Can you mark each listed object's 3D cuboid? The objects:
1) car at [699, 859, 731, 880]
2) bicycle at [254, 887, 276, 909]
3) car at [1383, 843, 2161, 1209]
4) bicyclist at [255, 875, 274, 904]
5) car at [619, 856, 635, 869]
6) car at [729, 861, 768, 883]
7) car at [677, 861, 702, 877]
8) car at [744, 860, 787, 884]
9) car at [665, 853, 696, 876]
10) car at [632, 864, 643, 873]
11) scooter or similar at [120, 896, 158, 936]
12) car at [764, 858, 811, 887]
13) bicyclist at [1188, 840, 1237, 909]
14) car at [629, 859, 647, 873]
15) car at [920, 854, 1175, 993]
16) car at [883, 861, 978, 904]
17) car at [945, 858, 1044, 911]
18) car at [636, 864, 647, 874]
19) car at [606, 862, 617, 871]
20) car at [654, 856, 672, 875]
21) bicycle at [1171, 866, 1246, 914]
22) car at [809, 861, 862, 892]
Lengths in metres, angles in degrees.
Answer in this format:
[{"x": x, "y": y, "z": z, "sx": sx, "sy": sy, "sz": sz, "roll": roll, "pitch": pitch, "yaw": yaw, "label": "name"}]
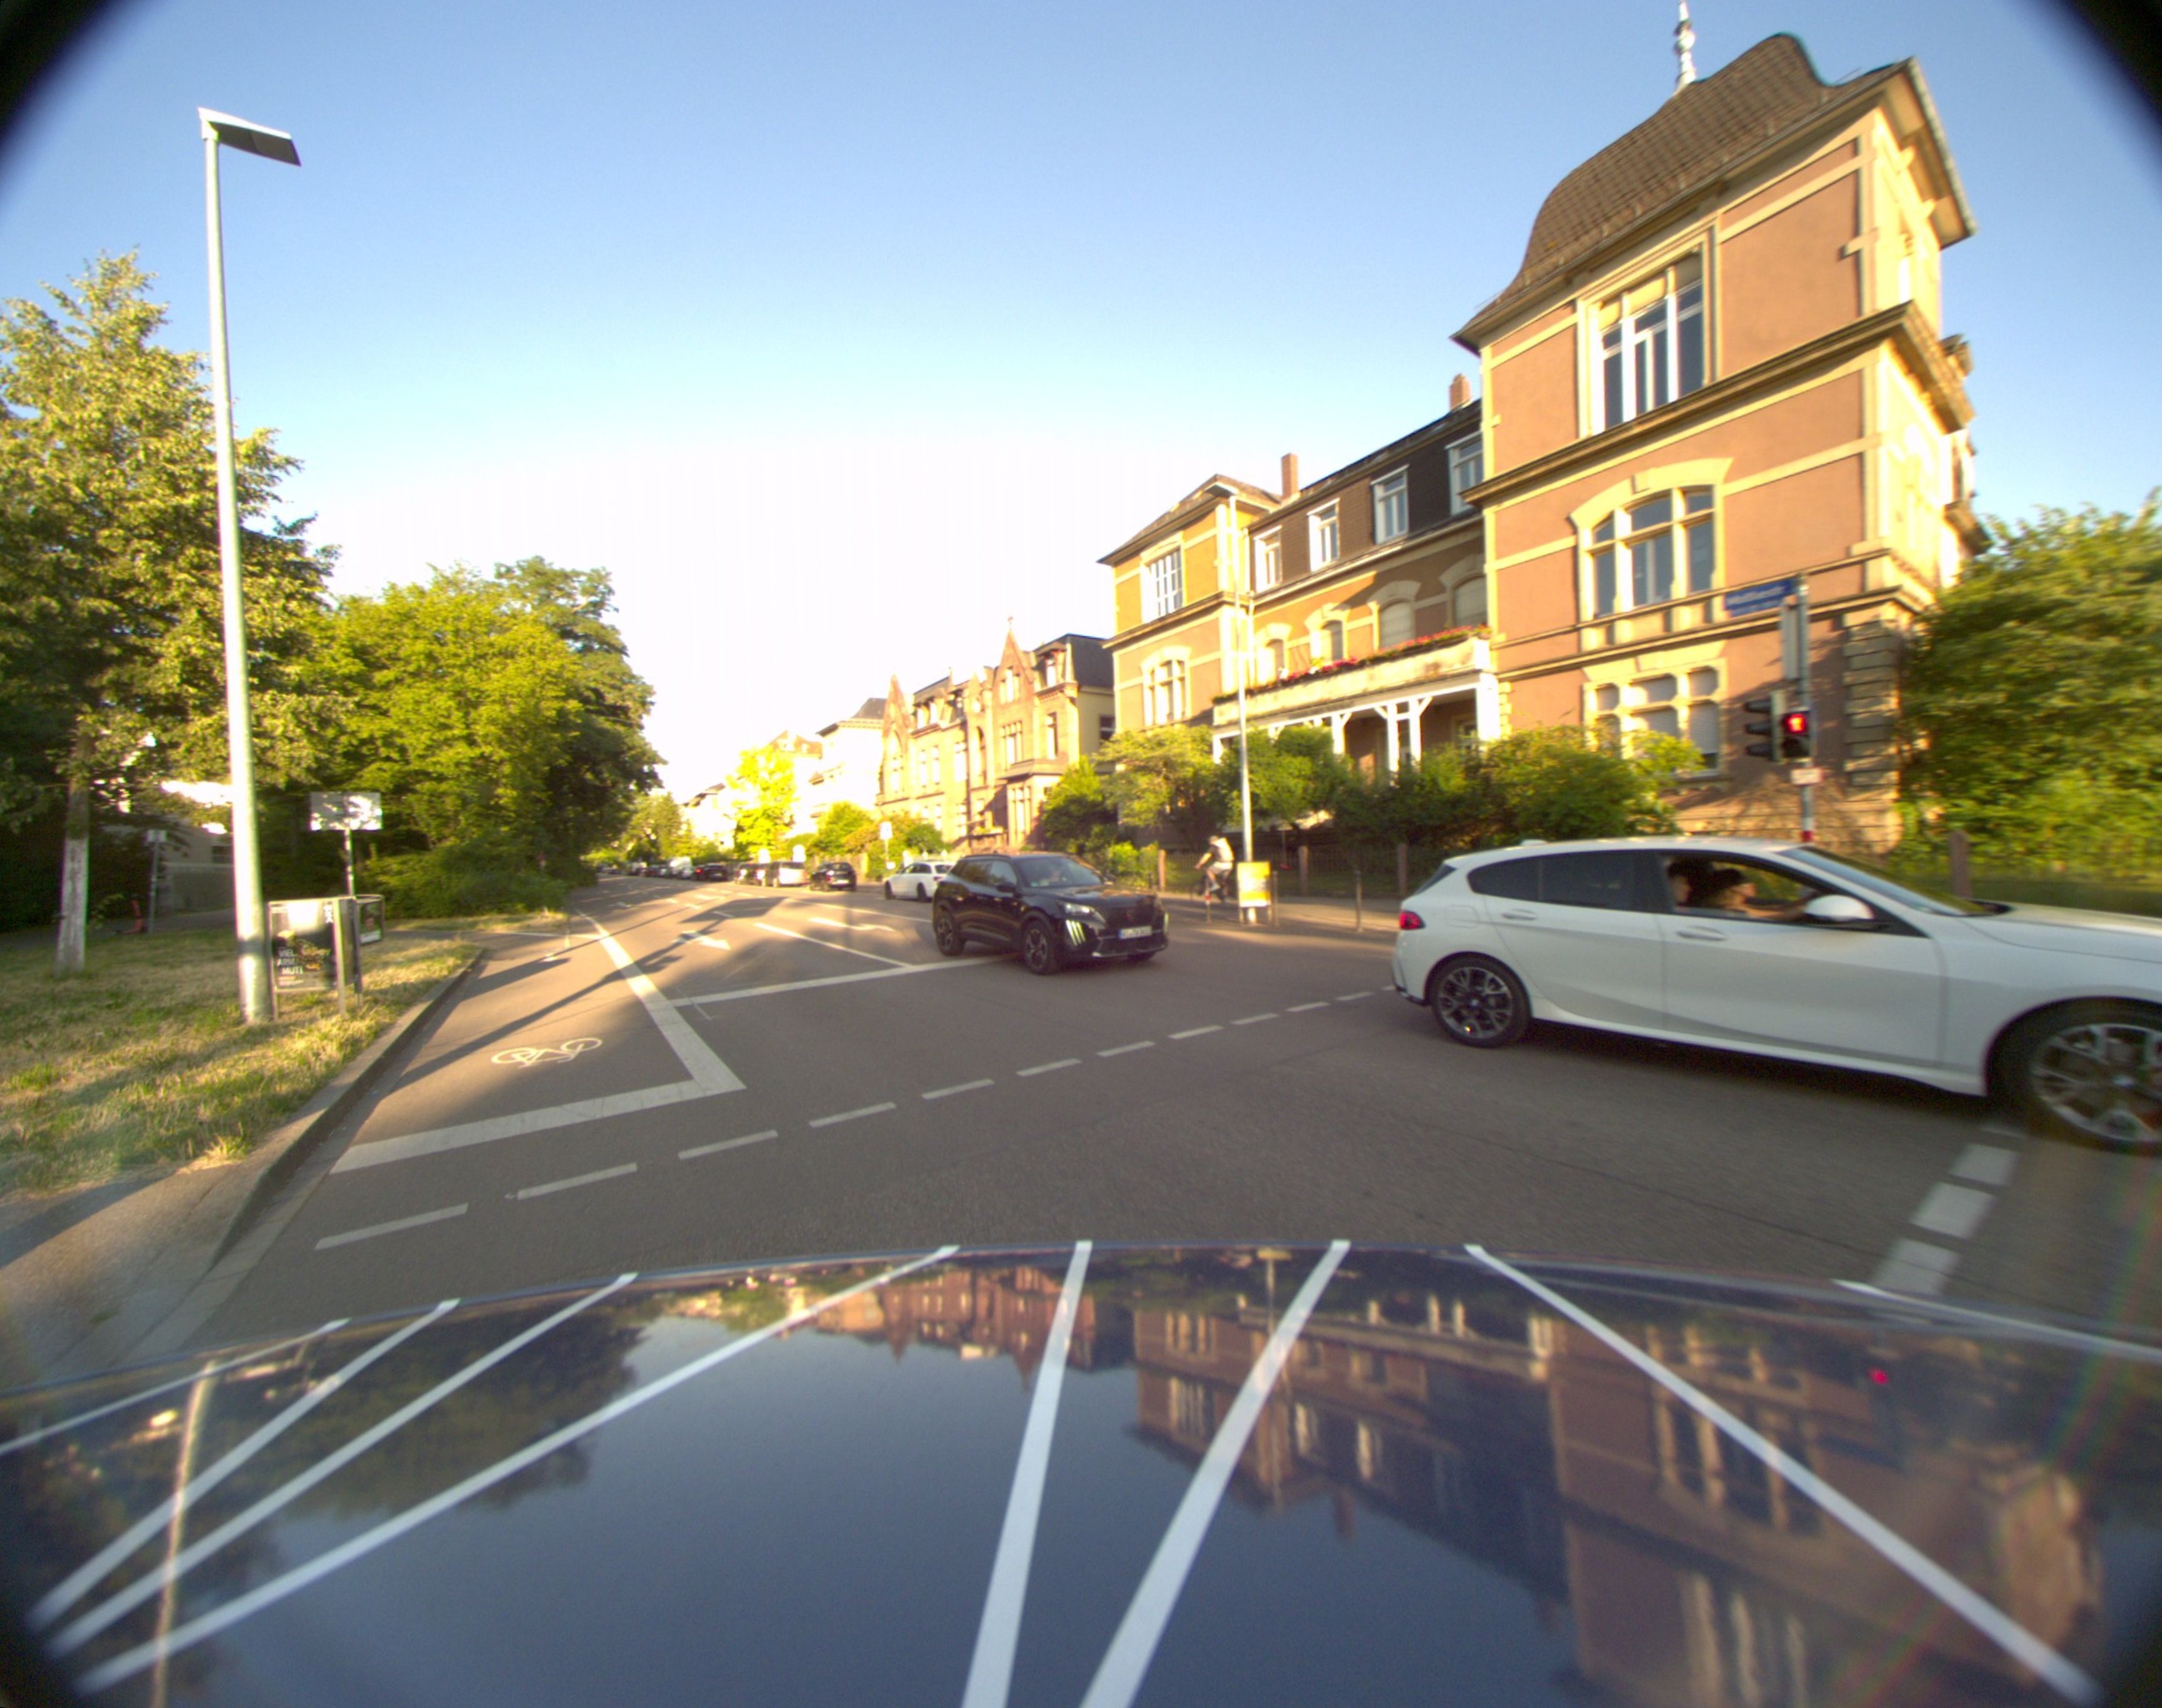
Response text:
[{"x": -31.366, "y": 1.281, "z": 65.052, "sx": 1.885, "sy": 1.596, "sz": 3.712, "roll": -2, "pitch": 2, "yaw": -34, "label": "car"}, {"x": -40.881, "y": 2.207, "z": 38.064, "sx": 0.503, "sy": 1.009, "sz": 1.523, "roll": -3, "pitch": 1, "yaw": -38, "label": "bicycle"}, {"x": 4.296, "y": 0.723, "z": 4.658, "sx": 1.761, "sy": 1.457, "sz": 4.177, "roll": -3, "pitch": 1, "yaw": -39, "label": "car"}, {"x": -40.924, "y": 1.795, "z": 38.089, "sx": 0.497, "sy": 1.409, "sz": 0.567, "roll": -3, "pitch": 1, "yaw": -39, "label": "bicyclist"}, {"x": -87.723, "y": 1.705, "z": 146.799, "sx": 2.003, "sy": 2.443, "sz": 5.565, "roll": -3, "pitch": 1, "yaw": -35, "label": "car"}, {"x": -23.313, "y": 1.237, "z": 53.179, "sx": 1.720, "sy": 1.441, "sz": 3.713, "roll": -2, "pitch": 0, "yaw": -36, "label": "car"}, {"x": -40.927, "y": 1.585, "z": 79.421, "sx": 1.720, "sy": 1.596, "sz": 3.843, "roll": -2, "pitch": 0, "yaw": -37, "label": "car"}, {"x": -20.605, "y": 1.159, "z": 49.504, "sx": 1.720, "sy": 1.441, "sz": 3.713, "roll": -2, "pitch": 0, "yaw": -36, "label": "car"}, {"x": -44.847, "y": 1.177, "z": 85.064, "sx": 2.236, "sy": 2.355, "sz": 5.864, "roll": -2, "pitch": 0, "yaw": -35, "label": "car"}, {"x": -71.068, "y": 2.332, "z": 121.755, "sx": 1.223, "sy": 1.430, "sz": 2.509, "roll": -2, "pitch": 0, "yaw": -34, "label": "car"}, {"x": -26.530, "y": 1.738, "z": 21.401, "sx": 0.194, "sy": 1.080, "sz": 0.835, "roll": -4, "pitch": 1, "yaw": -19, "label": "scooter or similar"}, {"x": -17.554, "y": 1.084, "z": 45.353, "sx": 1.720, "sy": 1.579, "sz": 3.743, "roll": -2, "pitch": 0, "yaw": -36, "label": "car"}, {"x": 3.255, "y": 0.493, "z": 18.856, "sx": 0.654, "sy": 1.624, "sz": 0.912, "roll": -5, "pitch": 3, "yaw": -34, "label": "bicyclist"}, {"x": -73.583, "y": 2.018, "z": 126.225, "sx": 2.209, "sy": 2.201, "sz": 4.516, "roll": -2, "pitch": 0, "yaw": -34, "label": "car"}, {"x": -0.662, "y": 0.818, "z": 10.781, "sx": 1.686, "sy": 1.527, "sz": 3.990, "roll": -3, "pitch": 1, "yaw": -35, "label": "car"}, {"x": -5.506, "y": 0.984, "z": 27.407, "sx": 1.613, "sy": 1.434, "sz": 4.421, "roll": 0, "pitch": -1, "yaw": -36, "label": "car"}, {"x": -2.781, "y": 0.907, "z": 23.801, "sx": 1.636, "sy": 1.525, "sz": 3.714, "roll": 1, "pitch": -1, "yaw": -32, "label": "car"}, {"x": -65.414, "y": 2.240, "z": 112.978, "sx": 1.223, "sy": 1.430, "sz": 2.509, "roll": -2, "pitch": 0, "yaw": -34, "label": "car"}, {"x": -115.011, "y": 3.025, "z": 186.190, "sx": 2.003, "sy": 2.002, "sz": 3.990, "roll": -3, "pitch": 1, "yaw": -34, "label": "car"}, {"x": -52.191, "y": 1.445, "z": 94.852, "sx": 1.575, "sy": 2.253, "sz": 3.790, "roll": -3, "pitch": 1, "yaw": -34, "label": "car"}, {"x": 3.171, "y": 0.879, "z": 19.033, "sx": 0.661, "sy": 1.083, "sz": 1.898, "roll": -5, "pitch": 2, "yaw": -34, "label": "bicycle"}, {"x": -12.222, "y": 1.072, "z": 37.767, "sx": 1.635, "sy": 1.437, "sz": 3.557, "roll": -2, "pitch": 0, "yaw": -32, "label": "car"}]
